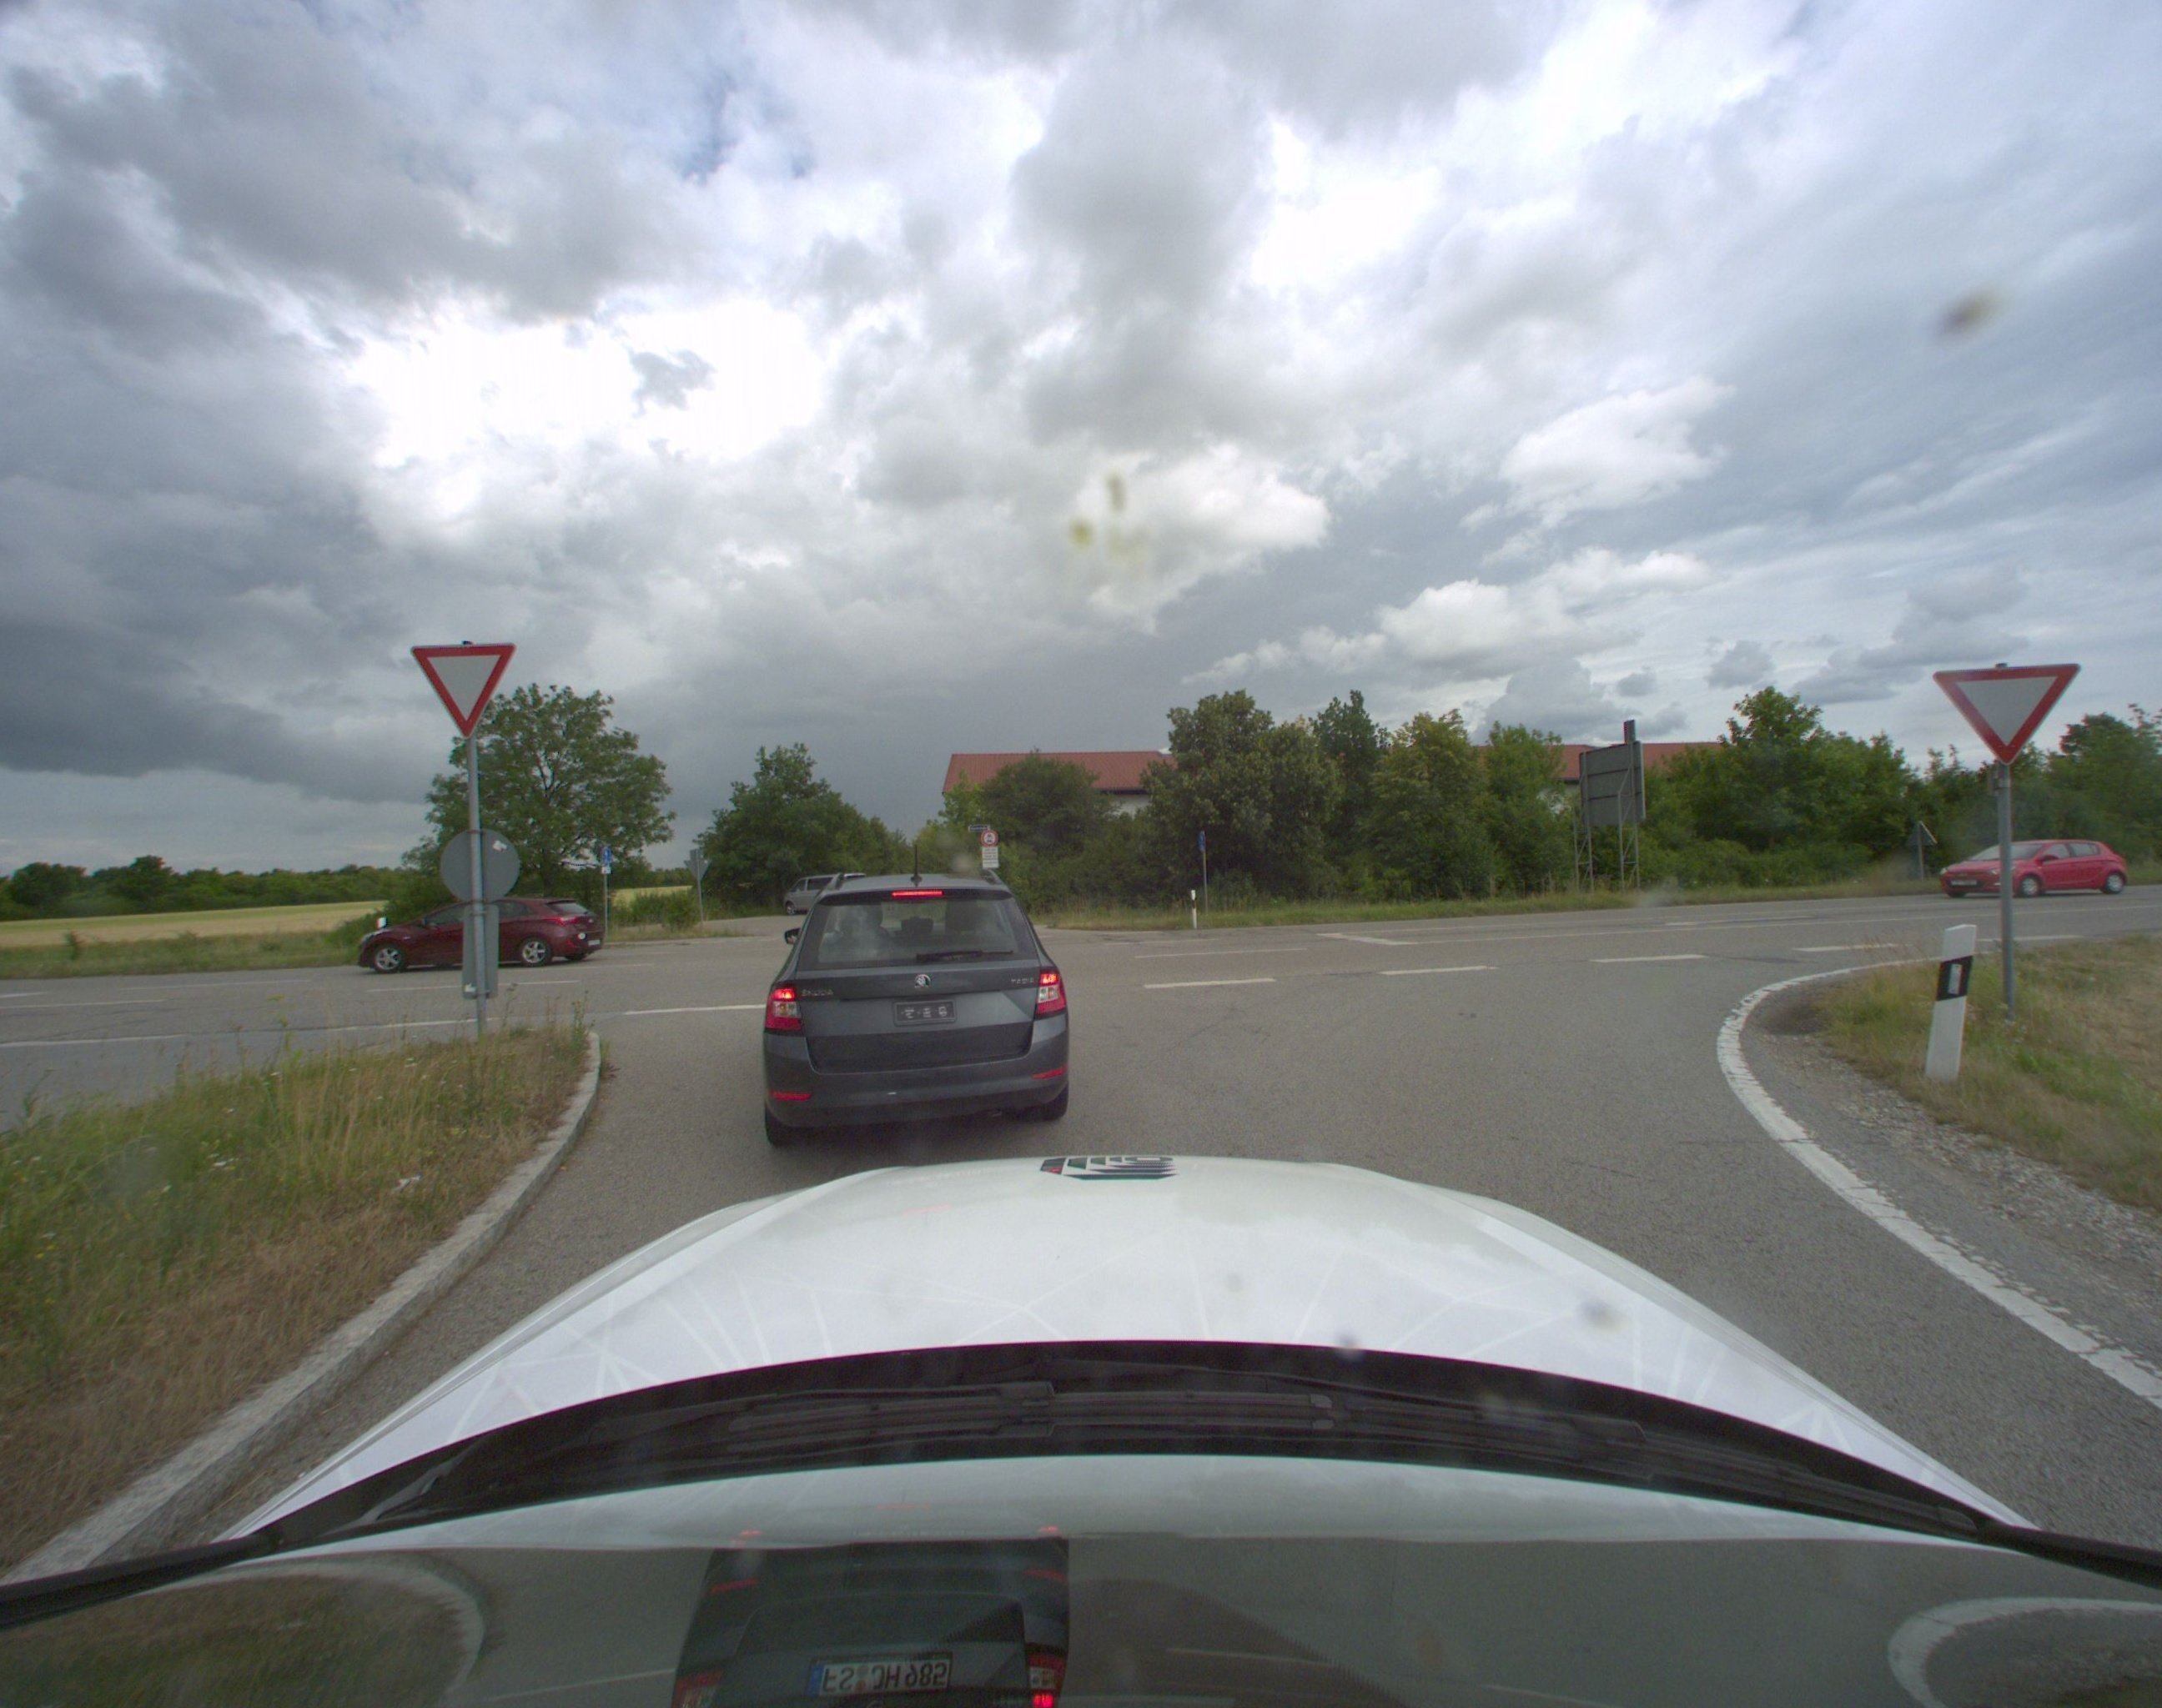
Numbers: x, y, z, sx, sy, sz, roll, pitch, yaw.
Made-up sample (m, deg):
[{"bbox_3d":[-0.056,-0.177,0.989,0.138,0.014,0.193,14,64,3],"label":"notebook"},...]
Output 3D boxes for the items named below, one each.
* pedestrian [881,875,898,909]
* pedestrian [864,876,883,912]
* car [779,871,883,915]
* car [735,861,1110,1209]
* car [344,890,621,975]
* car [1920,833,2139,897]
[{"bbox_3d":[-9.967,1.969,42.366,0.578,1.682,0.569,-3,0,20],"label":"pedestrian"},{"bbox_3d":[-10.389,2.006,40.741,0.523,1.725,0.646,-3,0,32],"label":"pedestrian"},{"bbox_3d":[-12.681,1.974,41.192,4.851,2.013,2.357,-3,0,33],"label":"car"},{"bbox_3d":[-1.170,0.830,5.576,1.679,1.463,3.688,-2,-1,-15],"label":"car"},{"bbox_3d":[-12.225,1.567,16.903,4.143,1.464,1.995,-2,-2,-7],"label":"car"},{"bbox_3d":[25.179,0.282,21.695,3.982,1.466,1.852,-3,-1,-6],"label":"car"}]
